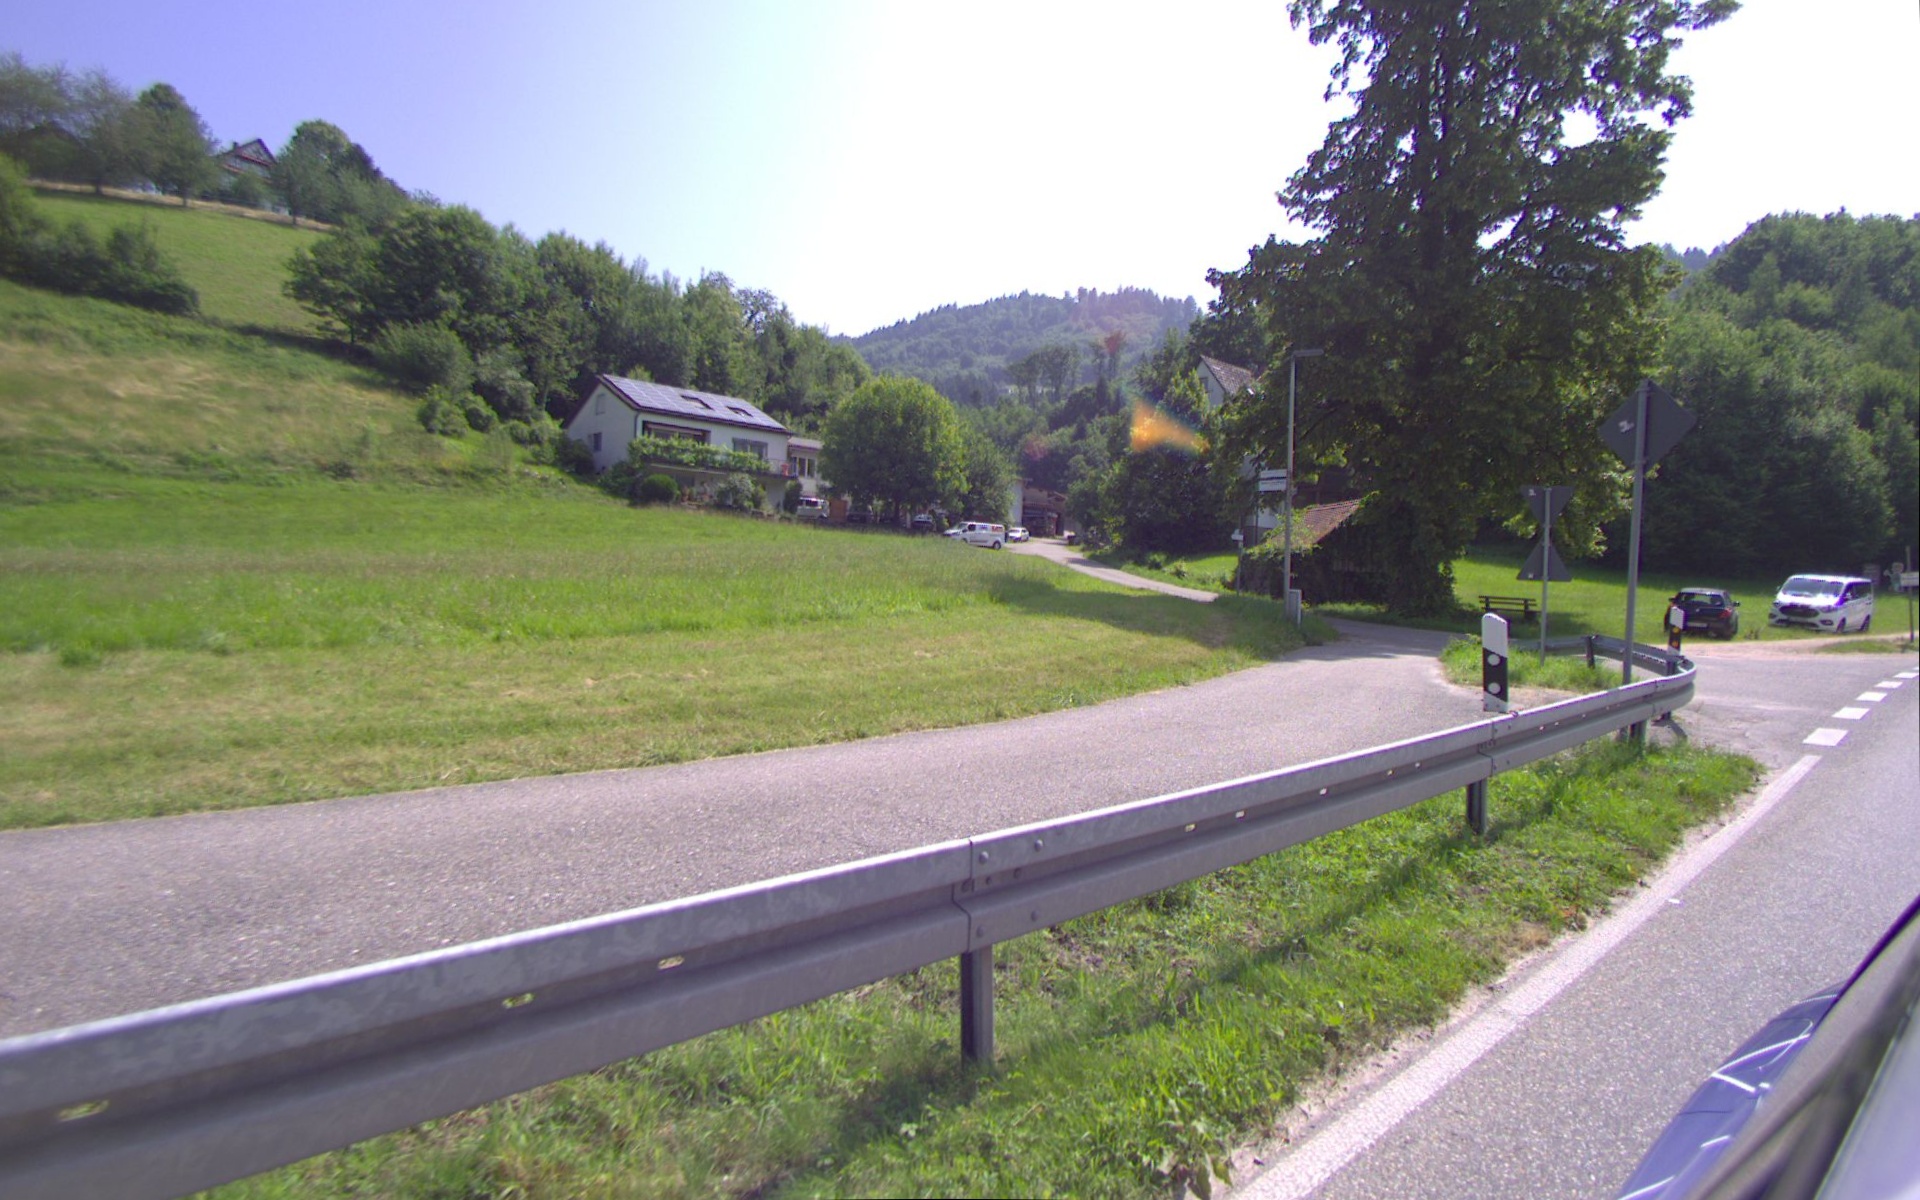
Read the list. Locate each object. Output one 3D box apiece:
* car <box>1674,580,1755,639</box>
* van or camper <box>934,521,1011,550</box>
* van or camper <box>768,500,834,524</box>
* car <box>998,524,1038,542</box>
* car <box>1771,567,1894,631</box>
[{"bbox_3d":[23.162,0.237,31.029,1.672,1.474,3.663,5,6,40],"label":"car"},{"bbox_3d":[0.977,-4.914,77.696,5.334,1.973,2.819,0,3,-36],"label":"van or camper"},{"bbox_3d":[-12.571,-6.950,80.179,2.027,1.661,4.967,4,3,44],"label":"van or camper"},{"bbox_3d":[6.079,-7.000,105.895,3.930,1.638,1.998,0,3,-41],"label":"car"},{"bbox_3d":[30.358,-0.072,35.188,4.777,1.869,2.008,0,7,-36],"label":"car"}]
